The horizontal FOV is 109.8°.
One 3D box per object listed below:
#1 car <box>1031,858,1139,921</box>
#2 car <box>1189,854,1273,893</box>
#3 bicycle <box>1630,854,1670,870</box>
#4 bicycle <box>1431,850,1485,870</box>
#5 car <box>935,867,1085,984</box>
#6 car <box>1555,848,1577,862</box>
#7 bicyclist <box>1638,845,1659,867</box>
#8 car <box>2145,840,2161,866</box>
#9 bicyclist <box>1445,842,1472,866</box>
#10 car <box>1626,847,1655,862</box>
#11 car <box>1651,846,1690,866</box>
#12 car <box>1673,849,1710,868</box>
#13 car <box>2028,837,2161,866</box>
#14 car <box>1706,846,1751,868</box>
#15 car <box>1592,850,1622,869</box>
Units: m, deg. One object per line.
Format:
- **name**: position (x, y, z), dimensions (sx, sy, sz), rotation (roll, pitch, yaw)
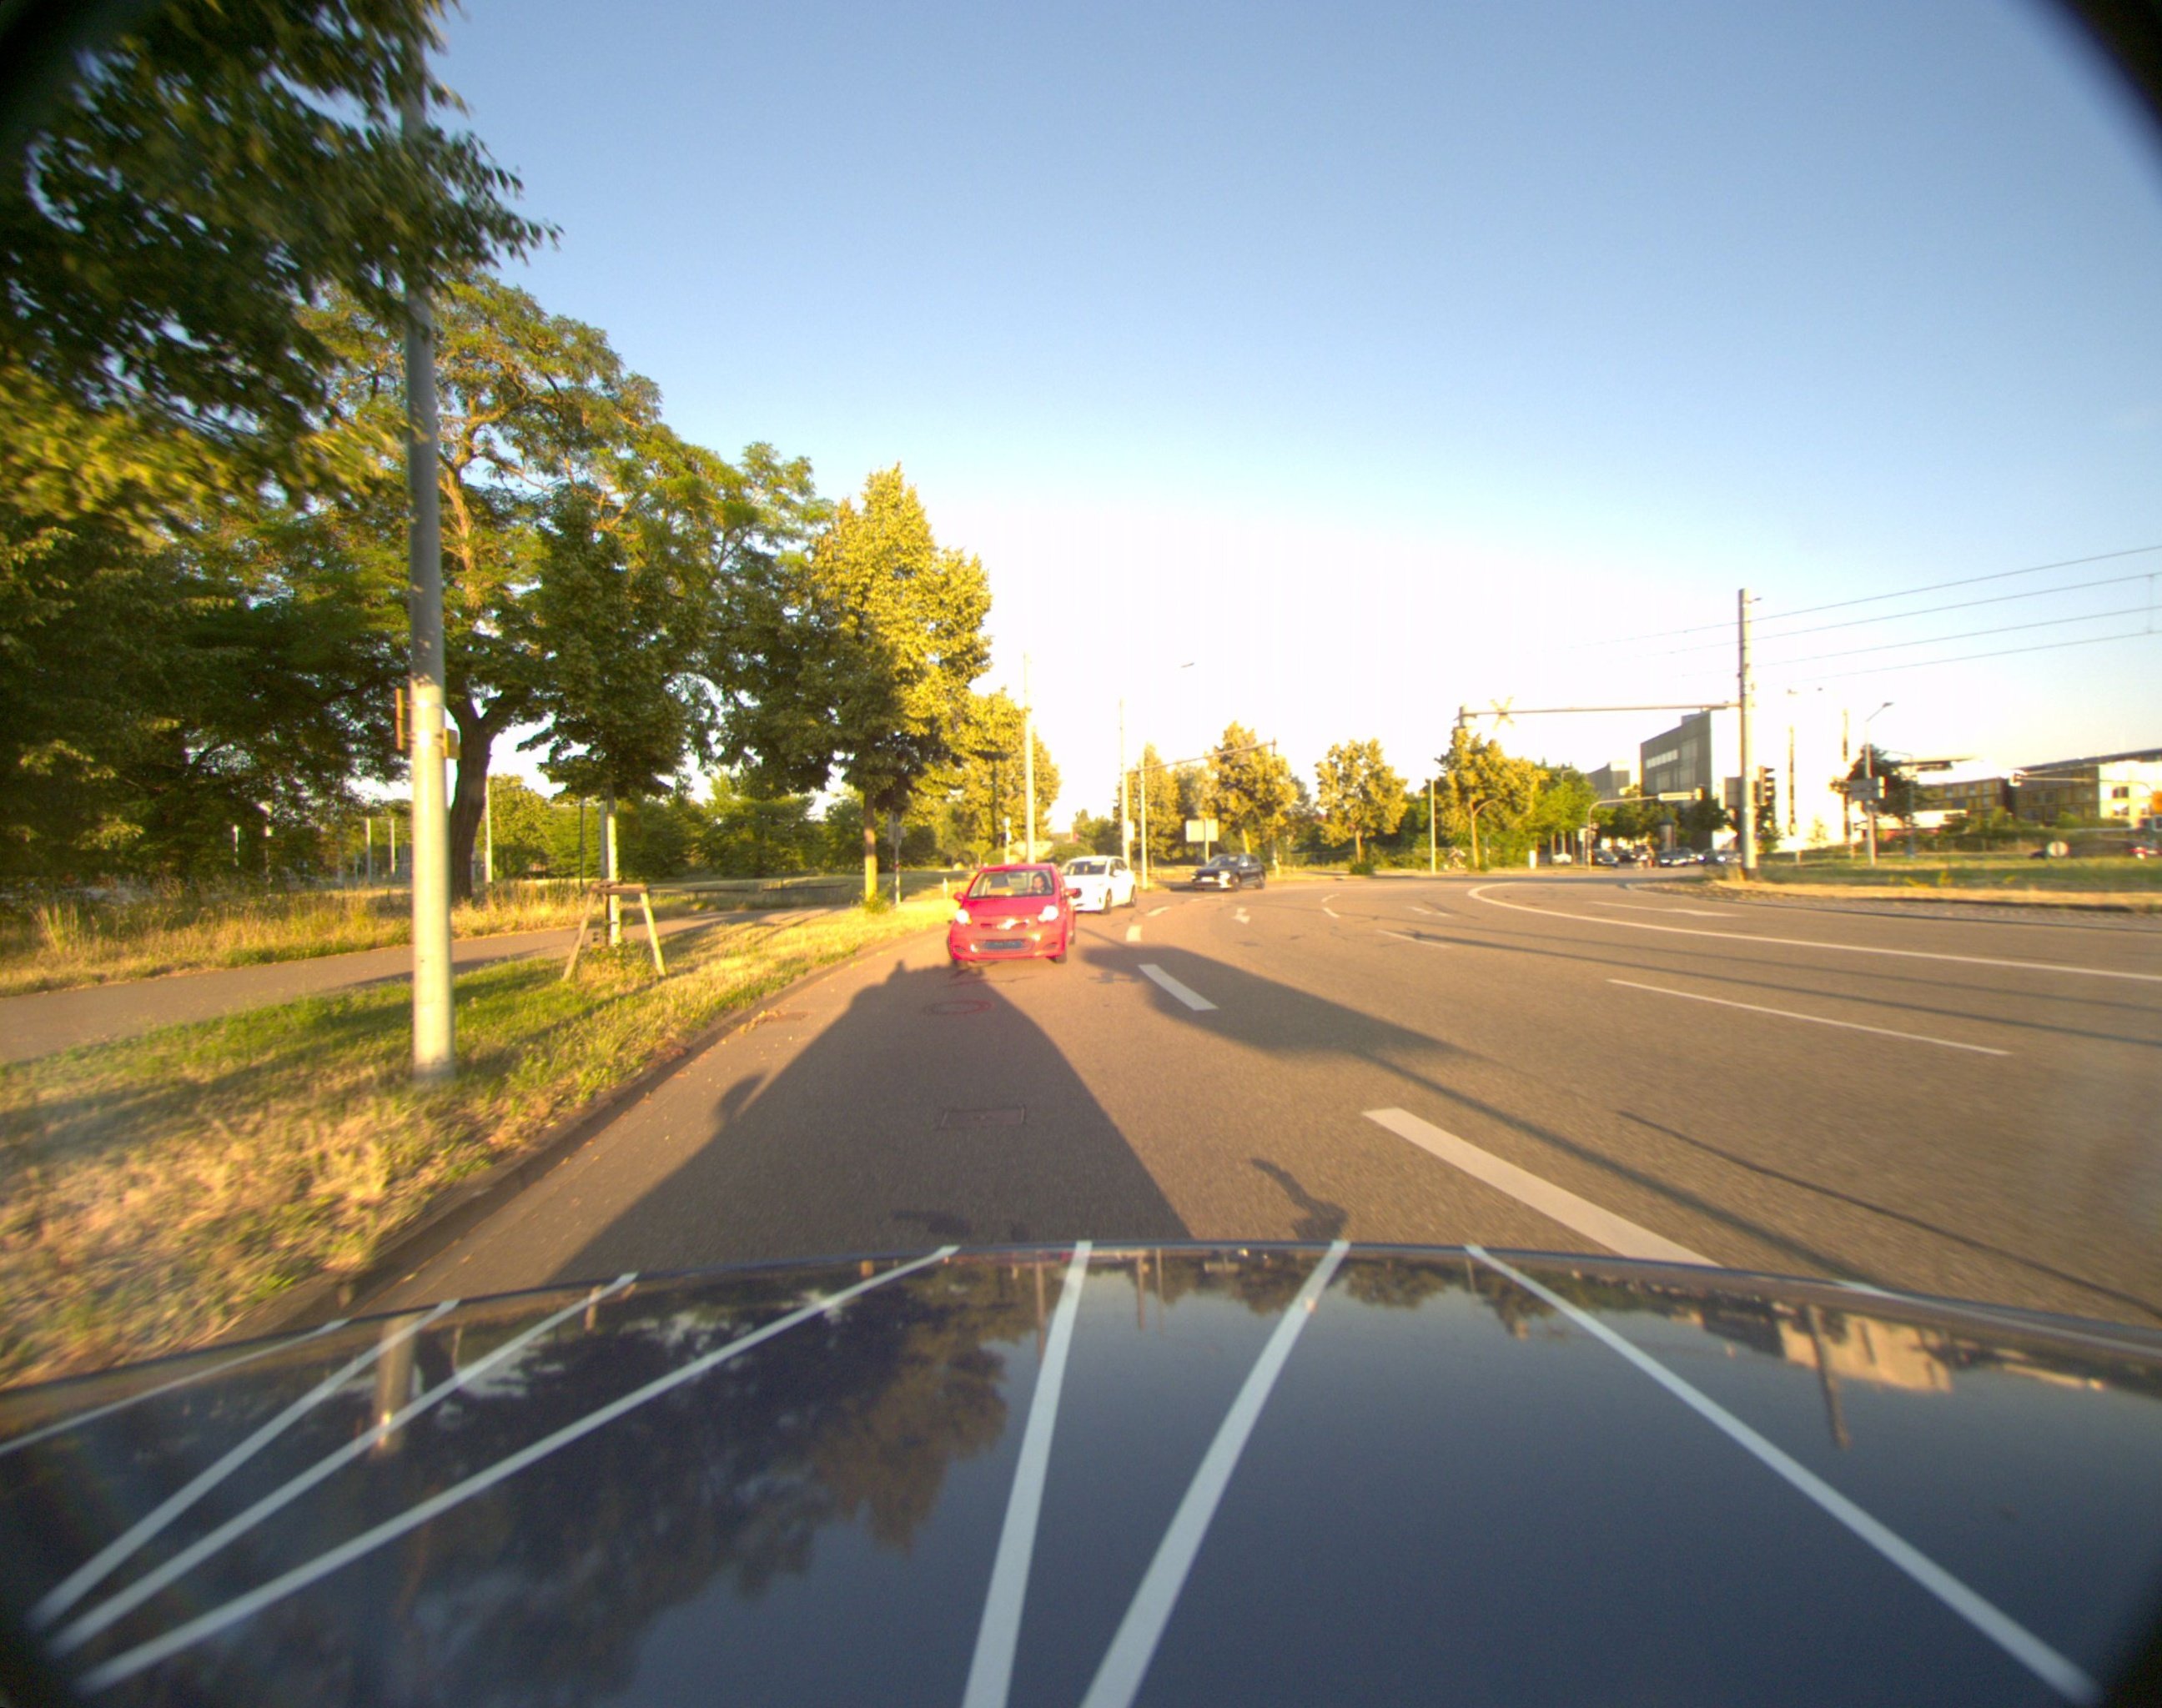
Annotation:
- **car**: position (0.227, 0.912, 21.105), dimensions (1.756, 1.549, 4.221), rotation (-1, 0, 18)
- **car**: position (6.553, 0.796, 32.825), dimensions (1.823, 1.549, 4.224), rotation (-1, 0, 38)
- **bicycle**: position (43.111, 0.596, 57.597), dimensions (2.325, 1.172, 0.811), rotation (-1, 0, 9)
- **bicycle**: position (28.587, 0.457, 57.644), dimensions (3.536, 1.387, 1.124), rotation (-1, 0, 0)
- **car**: position (-0.923, 0.973, 12.067), dimensions (1.693, 1.413, 4.212), rotation (-3, 0, 3)
- **car**: position (59.999, 0.119, 94.070), dimensions (1.868, 1.615, 4.200), rotation (-1, 0, 28)
- **bicyclist**: position (43.041, 0.179, 57.590), dimensions (0.999, 1.623, 0.811), rotation (-1, 0, 9)
- **car**: position (60.443, -0.066, 40.220), dimensions (1.944, 1.423, 4.401), rotation (-1, 0, -7)
- **bicyclist**: position (28.611, 0.021, 57.610), dimensions (1.416, 1.739, 1.124), rotation (-1, 0, 0)
- **car**: position (62.073, 0.053, 84.401), dimensions (1.868, 1.615, 4.200), rotation (-1, 0, 27)
- **car**: position (50.370, 0.117, 64.971), dimensions (1.868, 1.615, 4.200), rotation (-1, 0, 27)
- **car**: position (56.126, 0.434, 69.918), dimensions (1.868, 1.615, 4.200), rotation (-1, 0, 27)
- **car**: position (56.044, -0.127, 42.051), dimensions (1.841, 1.492, 4.253), rotation (-1, 0, -5)
- **car**: position (52.159, 0.230, 61.304), dimensions (1.868, 1.615, 4.200), rotation (-1, 0, 27)
- **car**: position (50.331, 0.481, 72.781), dimensions (1.868, 1.739, 3.859), rotation (-1, 0, 27)
